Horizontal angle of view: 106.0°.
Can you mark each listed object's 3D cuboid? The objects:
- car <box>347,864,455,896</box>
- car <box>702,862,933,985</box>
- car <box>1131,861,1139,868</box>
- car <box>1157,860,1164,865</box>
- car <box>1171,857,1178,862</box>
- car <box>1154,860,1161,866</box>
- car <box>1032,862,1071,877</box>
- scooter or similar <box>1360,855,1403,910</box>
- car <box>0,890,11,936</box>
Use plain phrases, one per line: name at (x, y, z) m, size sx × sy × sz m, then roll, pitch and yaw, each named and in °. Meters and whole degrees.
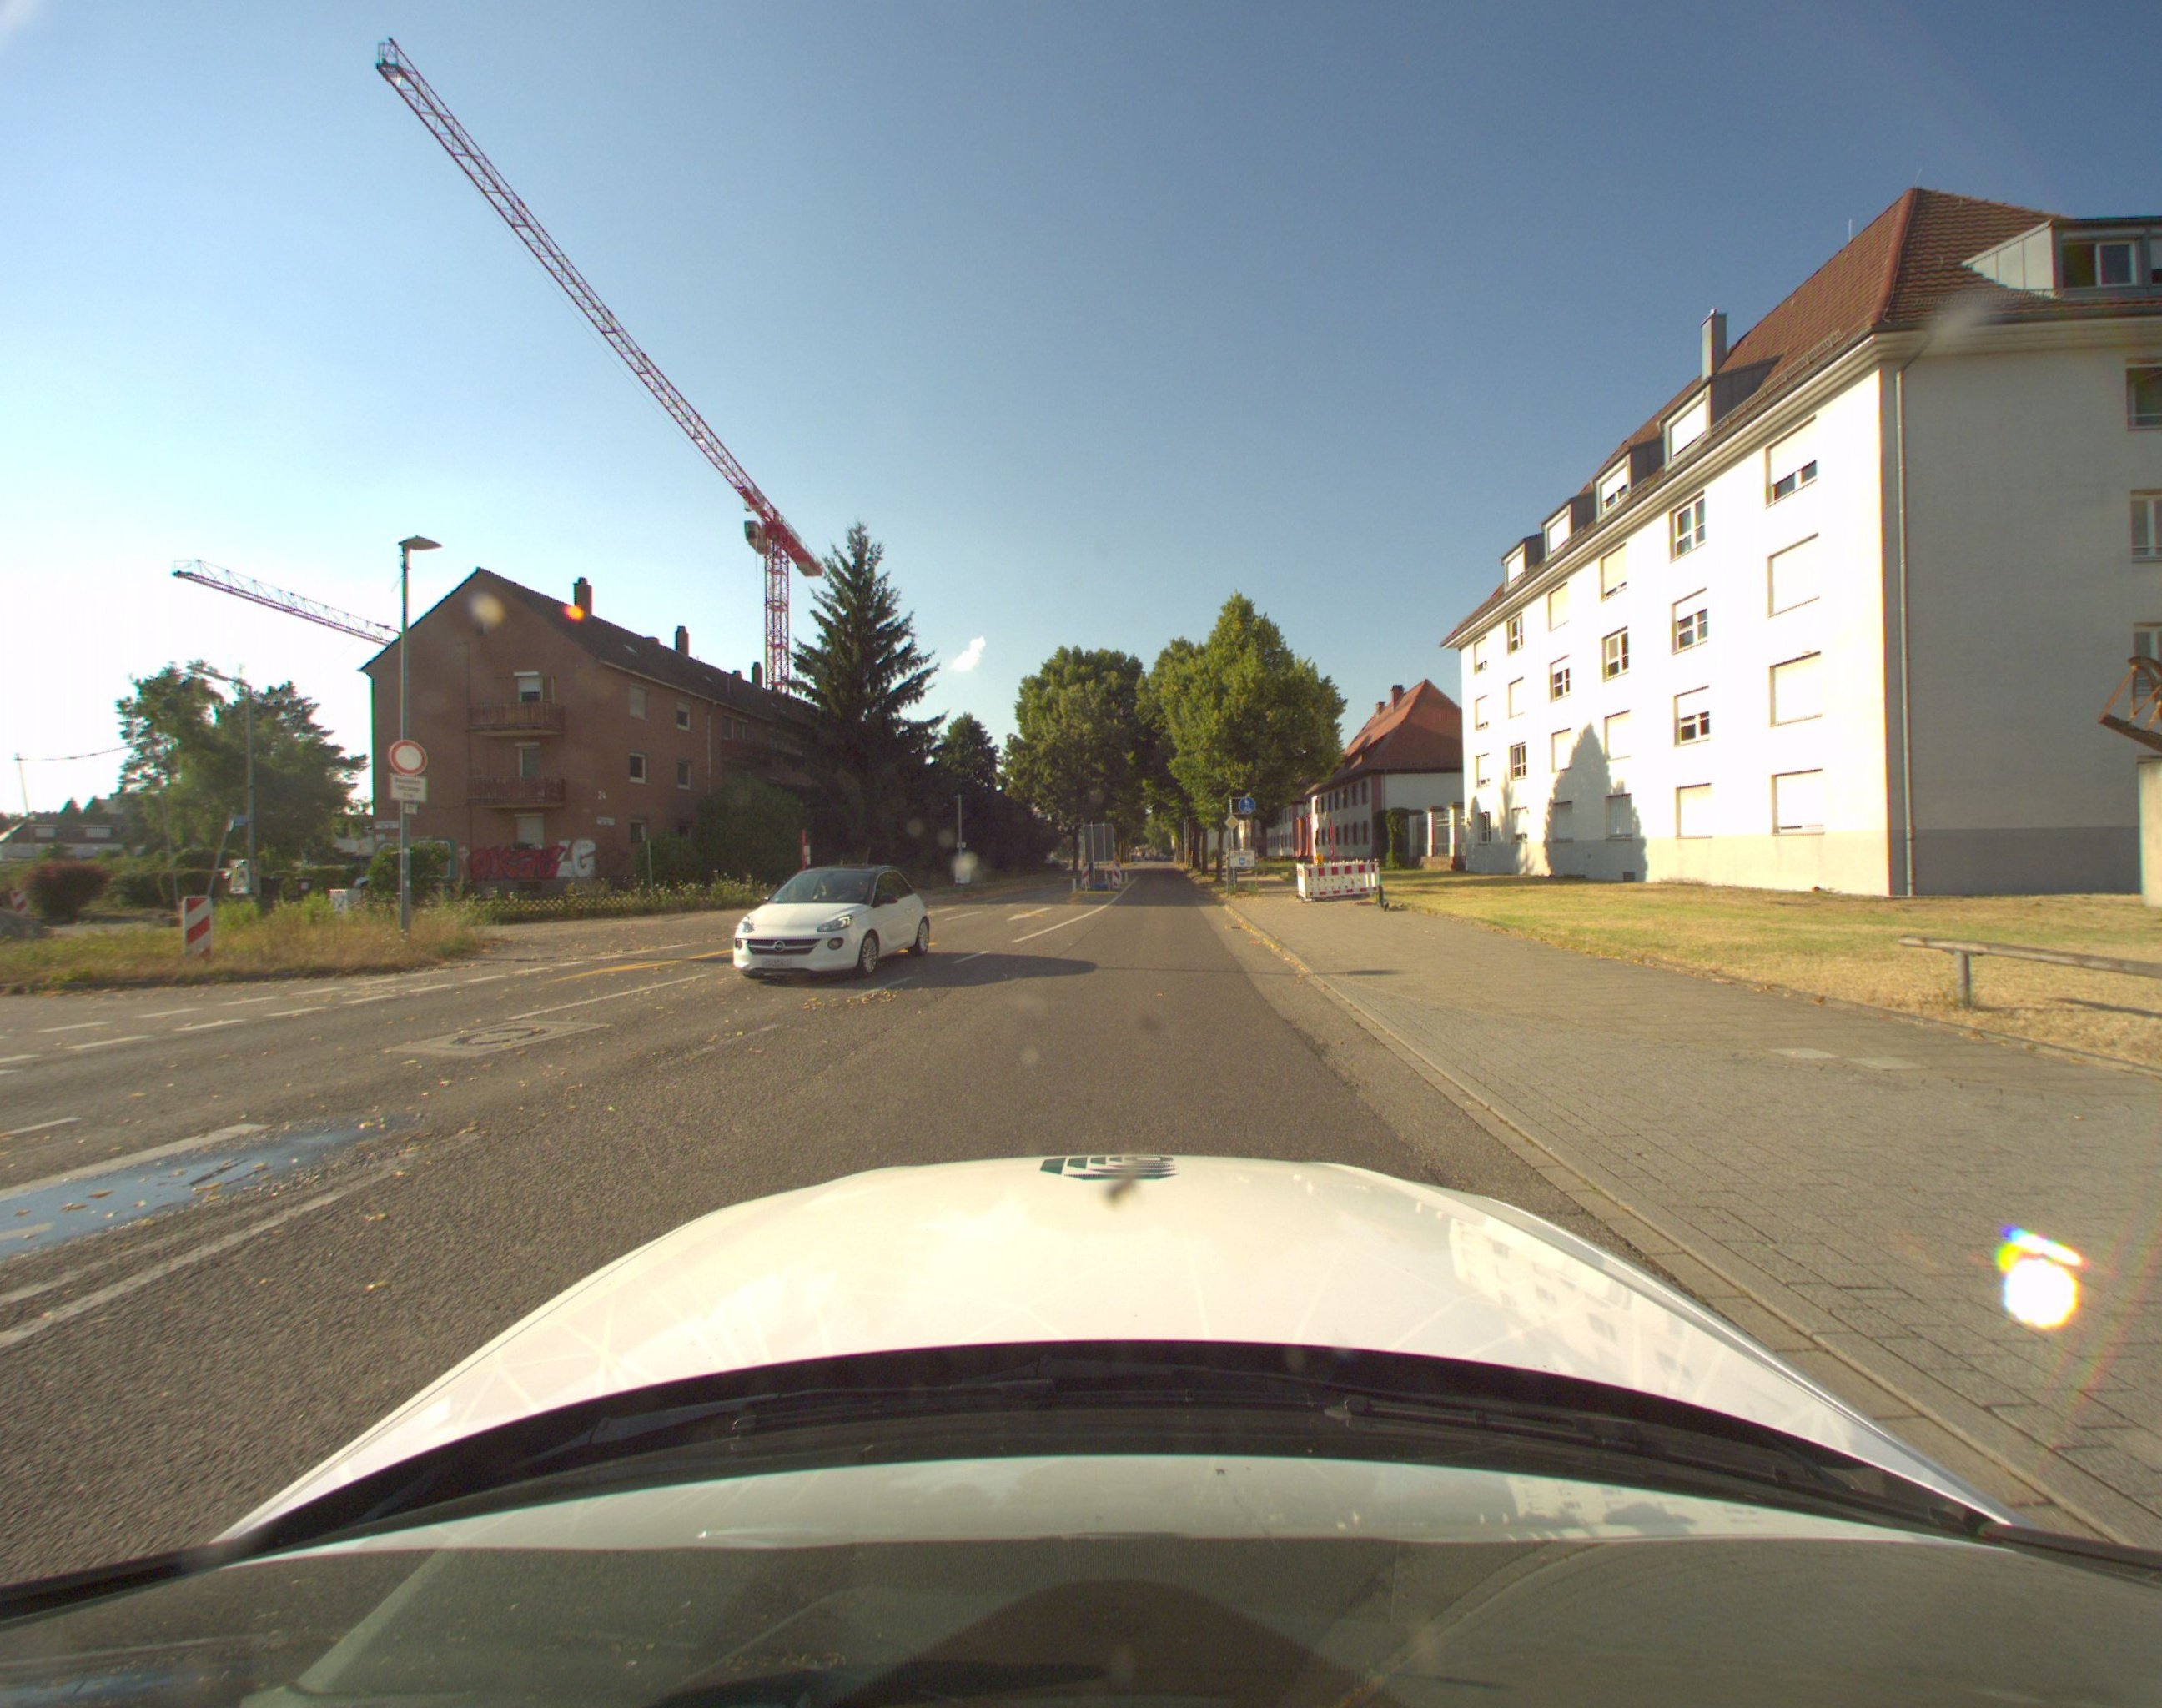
car at (-35.837, 1.346, 43.058) m, size 4.009 × 1.530 × 1.982 m, roll -1°, pitch 0°, yaw -28°
car at (-3.474, 0.849, 11.489) m, size 1.750 × 1.421 × 3.630 m, roll -1°, pitch -1°, yaw 6°
car at (14.877, 2.923, 225.670) m, size 1.987 × 1.688 × 3.999 m, roll -1°, pitch -1°, yaw 0°
car at (24.187, 2.616, 248.713) m, size 1.834 × 1.386 × 4.002 m, roll -2°, pitch -1°, yaw 2°
car at (24.377, 1.350, 213.092) m, size 1.832 × 1.261 × 4.007 m, roll -1°, pitch 0°, yaw 6°
car at (21.782, 2.544, 233.025) m, size 1.707 × 1.486 × 4.001 m, roll -2°, pitch -1°, yaw 2°
car at (-3.101, 1.658, 86.439) m, size 3.823 × 1.473 × 1.654 m, roll -1°, pitch 0°, yaw 7°
scooter or similar at (7.507, 0.693, 20.389) m, size 0.556 × 1.292 × 1.465 m, roll -5°, pitch -1°, yaw 5°
car at (-38.864, 2.055, 27.768) m, size 3.951 × 1.552 × 2.011 m, roll -1°, pitch 0°, yaw 24°
